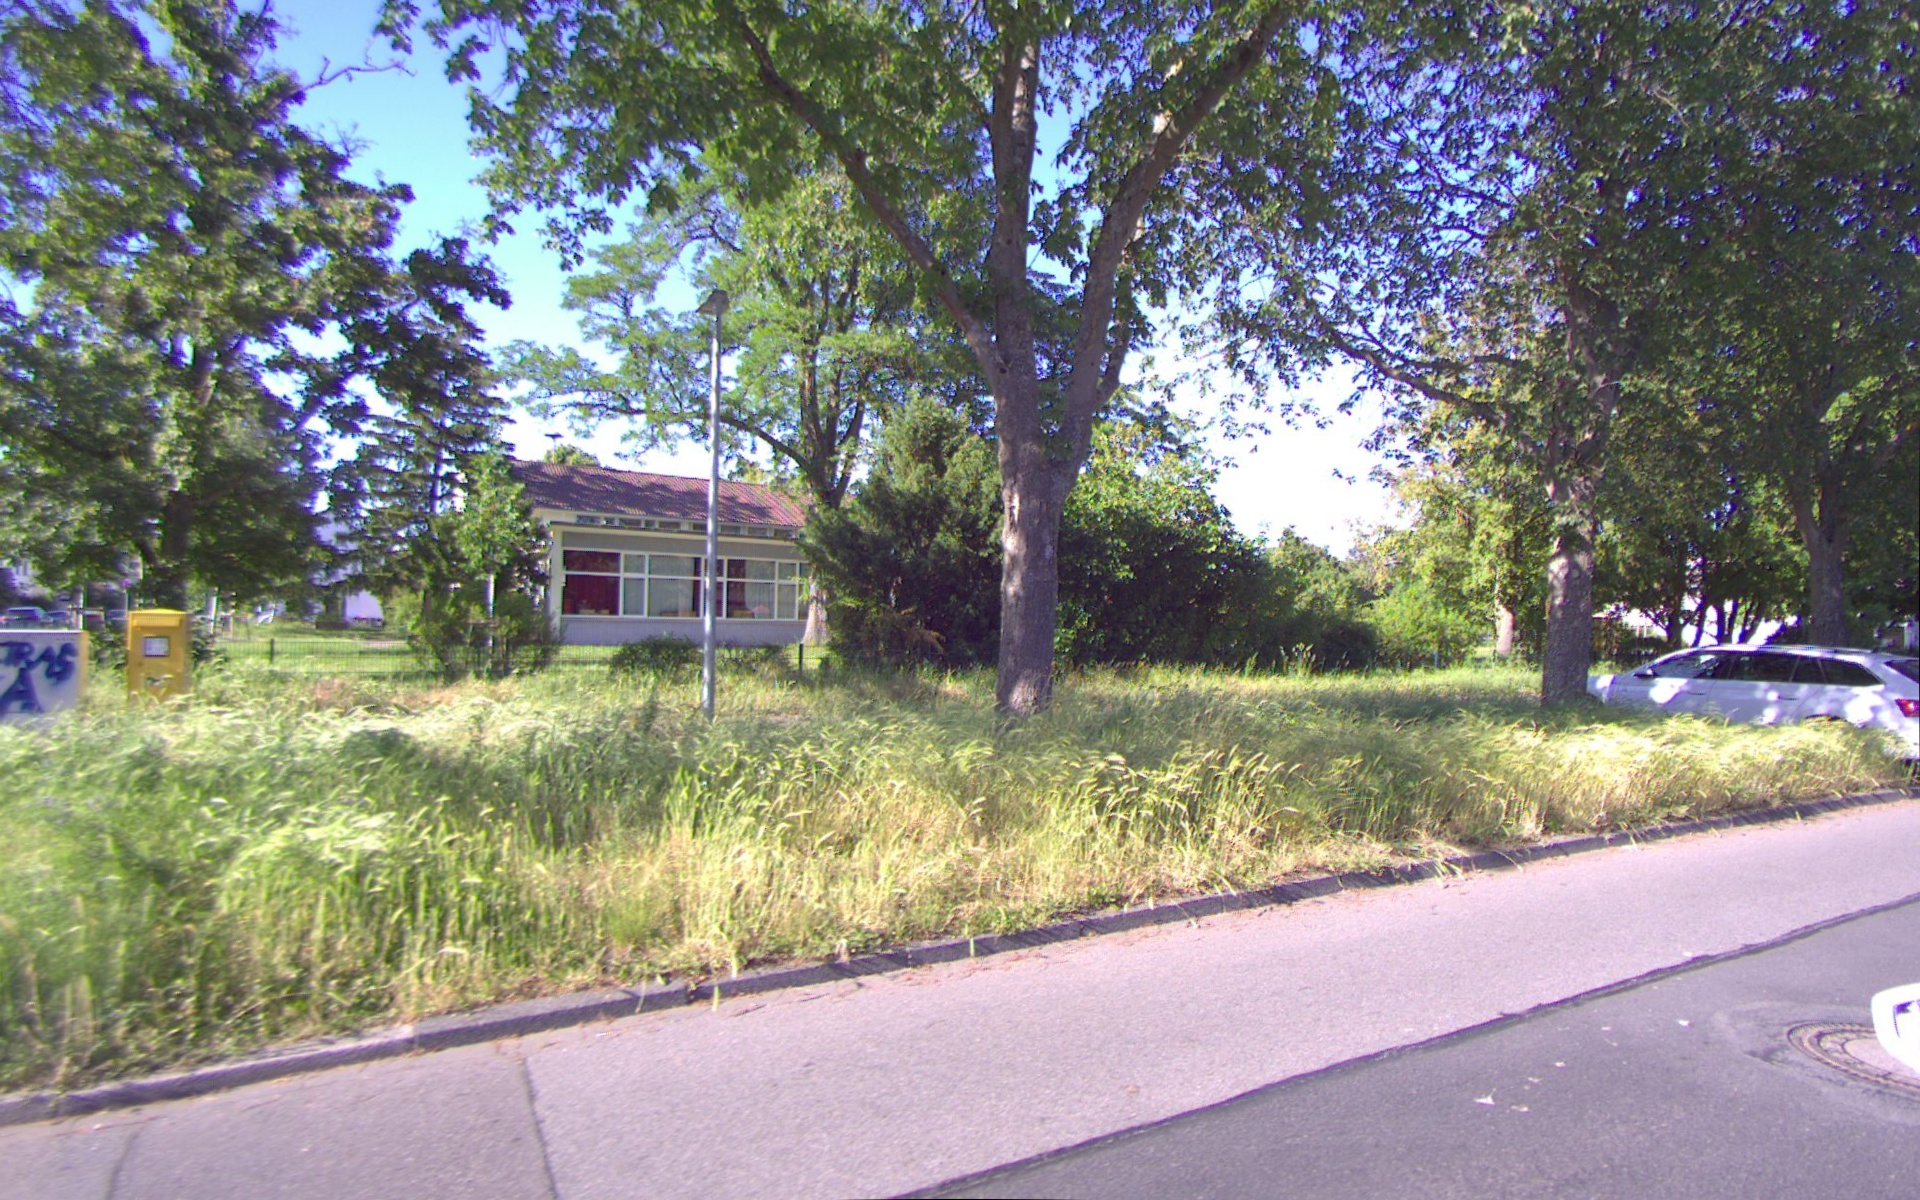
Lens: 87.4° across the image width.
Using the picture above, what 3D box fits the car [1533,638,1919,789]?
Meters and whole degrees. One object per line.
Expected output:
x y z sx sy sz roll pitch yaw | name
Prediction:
10.479 1.357 13.352 1.975 1.523 4.652 2 -1 -28 | car

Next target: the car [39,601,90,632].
-60.798 1.129 68.257 1.979 2.040 3.963 2 -1 -34 | car

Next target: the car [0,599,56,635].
-56.196 1.012 60.518 1.979 2.040 3.963 2 -1 -34 | car

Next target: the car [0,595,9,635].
-49.080 0.792 49.827 1.979 1.974 3.964 3 1 -32 | car
